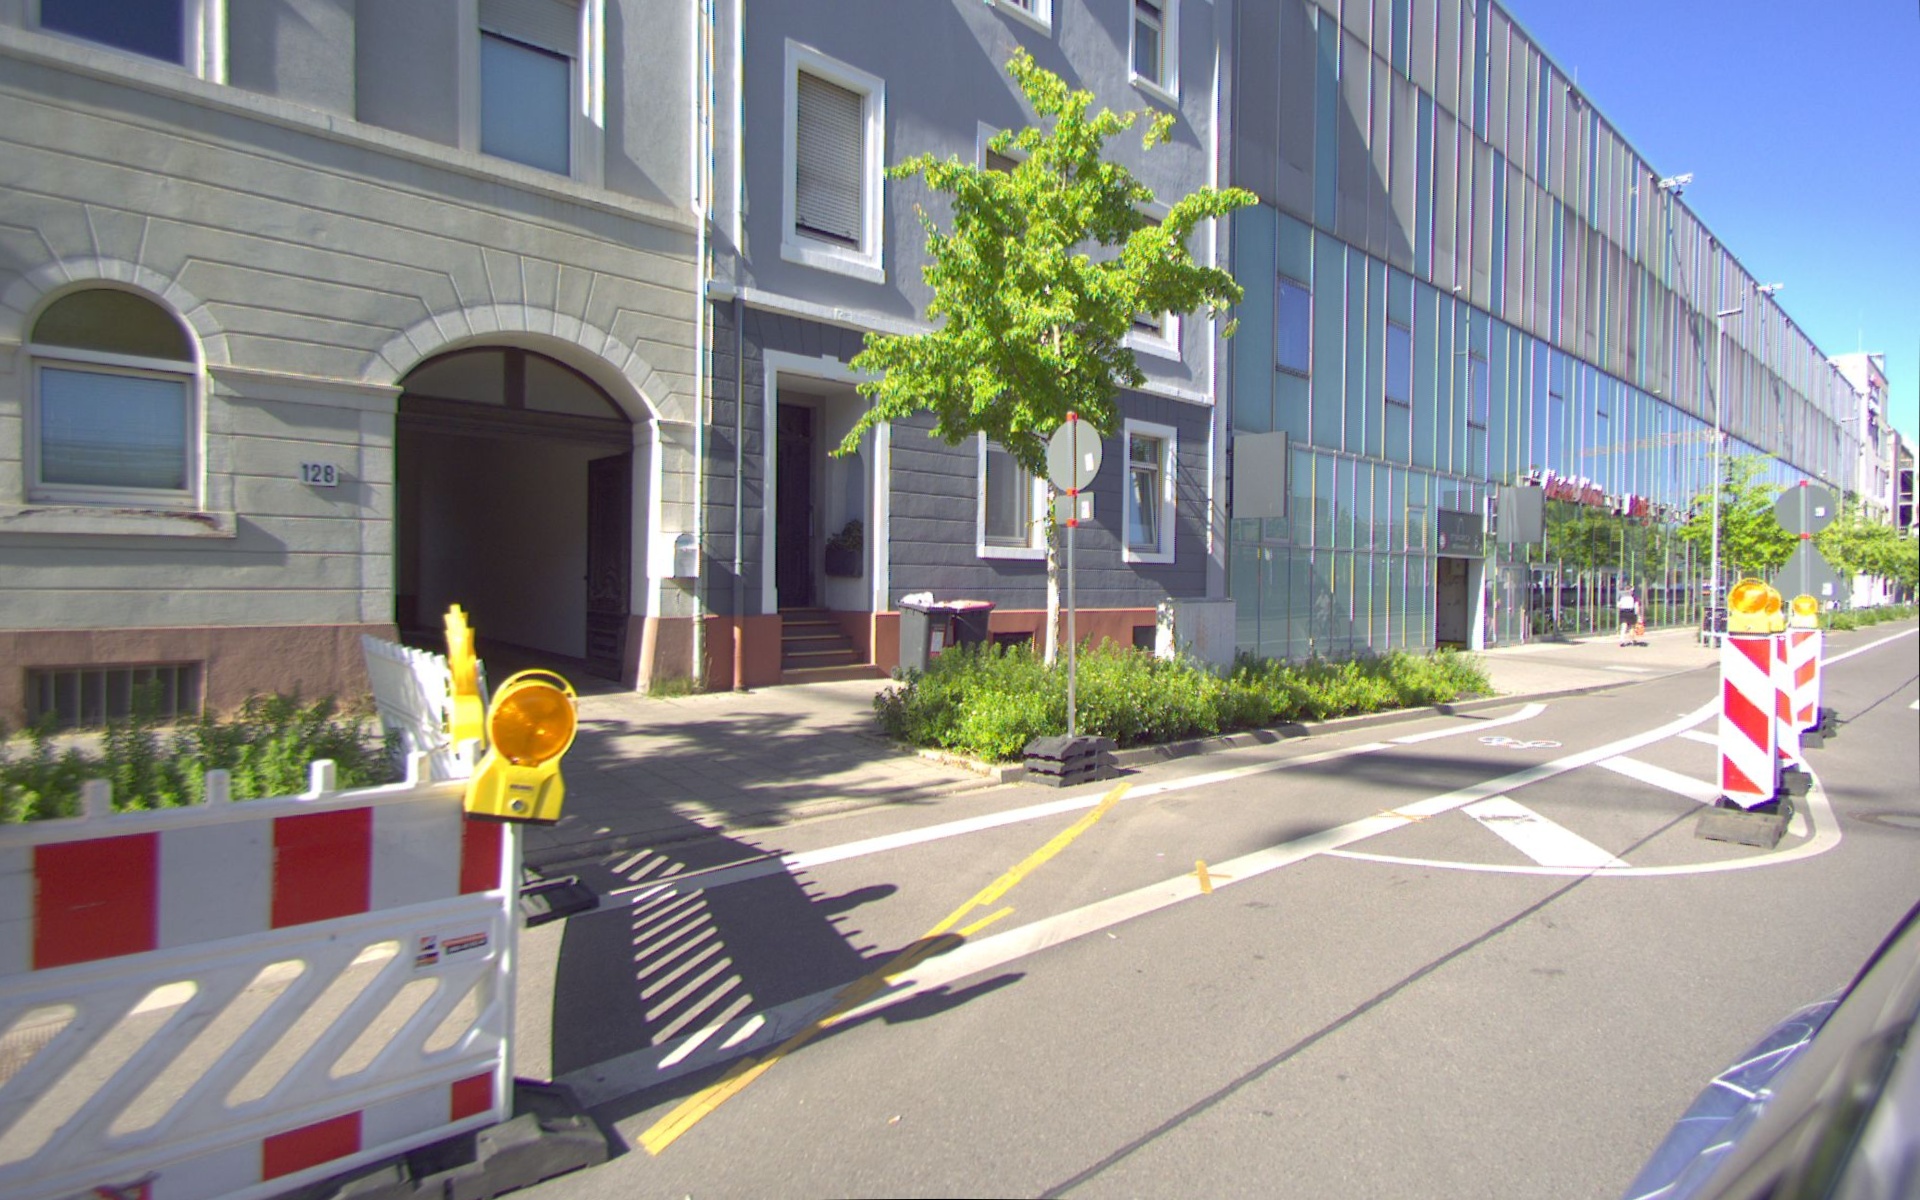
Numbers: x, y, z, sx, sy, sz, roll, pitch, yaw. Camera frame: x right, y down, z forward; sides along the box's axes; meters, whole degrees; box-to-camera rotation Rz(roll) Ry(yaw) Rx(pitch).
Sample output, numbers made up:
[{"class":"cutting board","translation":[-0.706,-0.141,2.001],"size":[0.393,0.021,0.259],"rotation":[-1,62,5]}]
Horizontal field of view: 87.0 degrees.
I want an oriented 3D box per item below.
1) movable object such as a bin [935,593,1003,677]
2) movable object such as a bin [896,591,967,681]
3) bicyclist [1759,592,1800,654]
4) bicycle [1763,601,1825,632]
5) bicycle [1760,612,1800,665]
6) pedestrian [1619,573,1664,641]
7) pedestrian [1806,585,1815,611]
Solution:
[{"class":"movable object such as a bin","translation":[0.119,0.458,13.721],"size":[0.691,1.096,0.604],"rotation":[0,0,-41]},{"class":"movable object such as a bin","translation":[-0.368,0.445,13.058],"size":[0.691,1.122,0.589],"rotation":[0,0,-41]},{"class":"bicyclist","translation":[20.087,0.552,24.804],"size":[0.753,1.480,0.578],"rotation":[0,1,43]},{"class":"bicycle","translation":[31.906,0.619,38.754],"size":[1.728,1.075,0.462],"rotation":[4,2,33]},{"class":"bicycle","translation":[20.074,0.928,24.769],"size":[0.608,1.165,1.957],"rotation":[2,3,42]},{"class":"pedestrian","translation":[20.518,0.199,30.473],"size":[0.880,1.947,0.877],"rotation":[-3,5,-42]},{"class":"pedestrian","translation":[57.417,-0.141,68.317],"size":[0.339,1.712,0.450],"rotation":[0,0,-42]}]
